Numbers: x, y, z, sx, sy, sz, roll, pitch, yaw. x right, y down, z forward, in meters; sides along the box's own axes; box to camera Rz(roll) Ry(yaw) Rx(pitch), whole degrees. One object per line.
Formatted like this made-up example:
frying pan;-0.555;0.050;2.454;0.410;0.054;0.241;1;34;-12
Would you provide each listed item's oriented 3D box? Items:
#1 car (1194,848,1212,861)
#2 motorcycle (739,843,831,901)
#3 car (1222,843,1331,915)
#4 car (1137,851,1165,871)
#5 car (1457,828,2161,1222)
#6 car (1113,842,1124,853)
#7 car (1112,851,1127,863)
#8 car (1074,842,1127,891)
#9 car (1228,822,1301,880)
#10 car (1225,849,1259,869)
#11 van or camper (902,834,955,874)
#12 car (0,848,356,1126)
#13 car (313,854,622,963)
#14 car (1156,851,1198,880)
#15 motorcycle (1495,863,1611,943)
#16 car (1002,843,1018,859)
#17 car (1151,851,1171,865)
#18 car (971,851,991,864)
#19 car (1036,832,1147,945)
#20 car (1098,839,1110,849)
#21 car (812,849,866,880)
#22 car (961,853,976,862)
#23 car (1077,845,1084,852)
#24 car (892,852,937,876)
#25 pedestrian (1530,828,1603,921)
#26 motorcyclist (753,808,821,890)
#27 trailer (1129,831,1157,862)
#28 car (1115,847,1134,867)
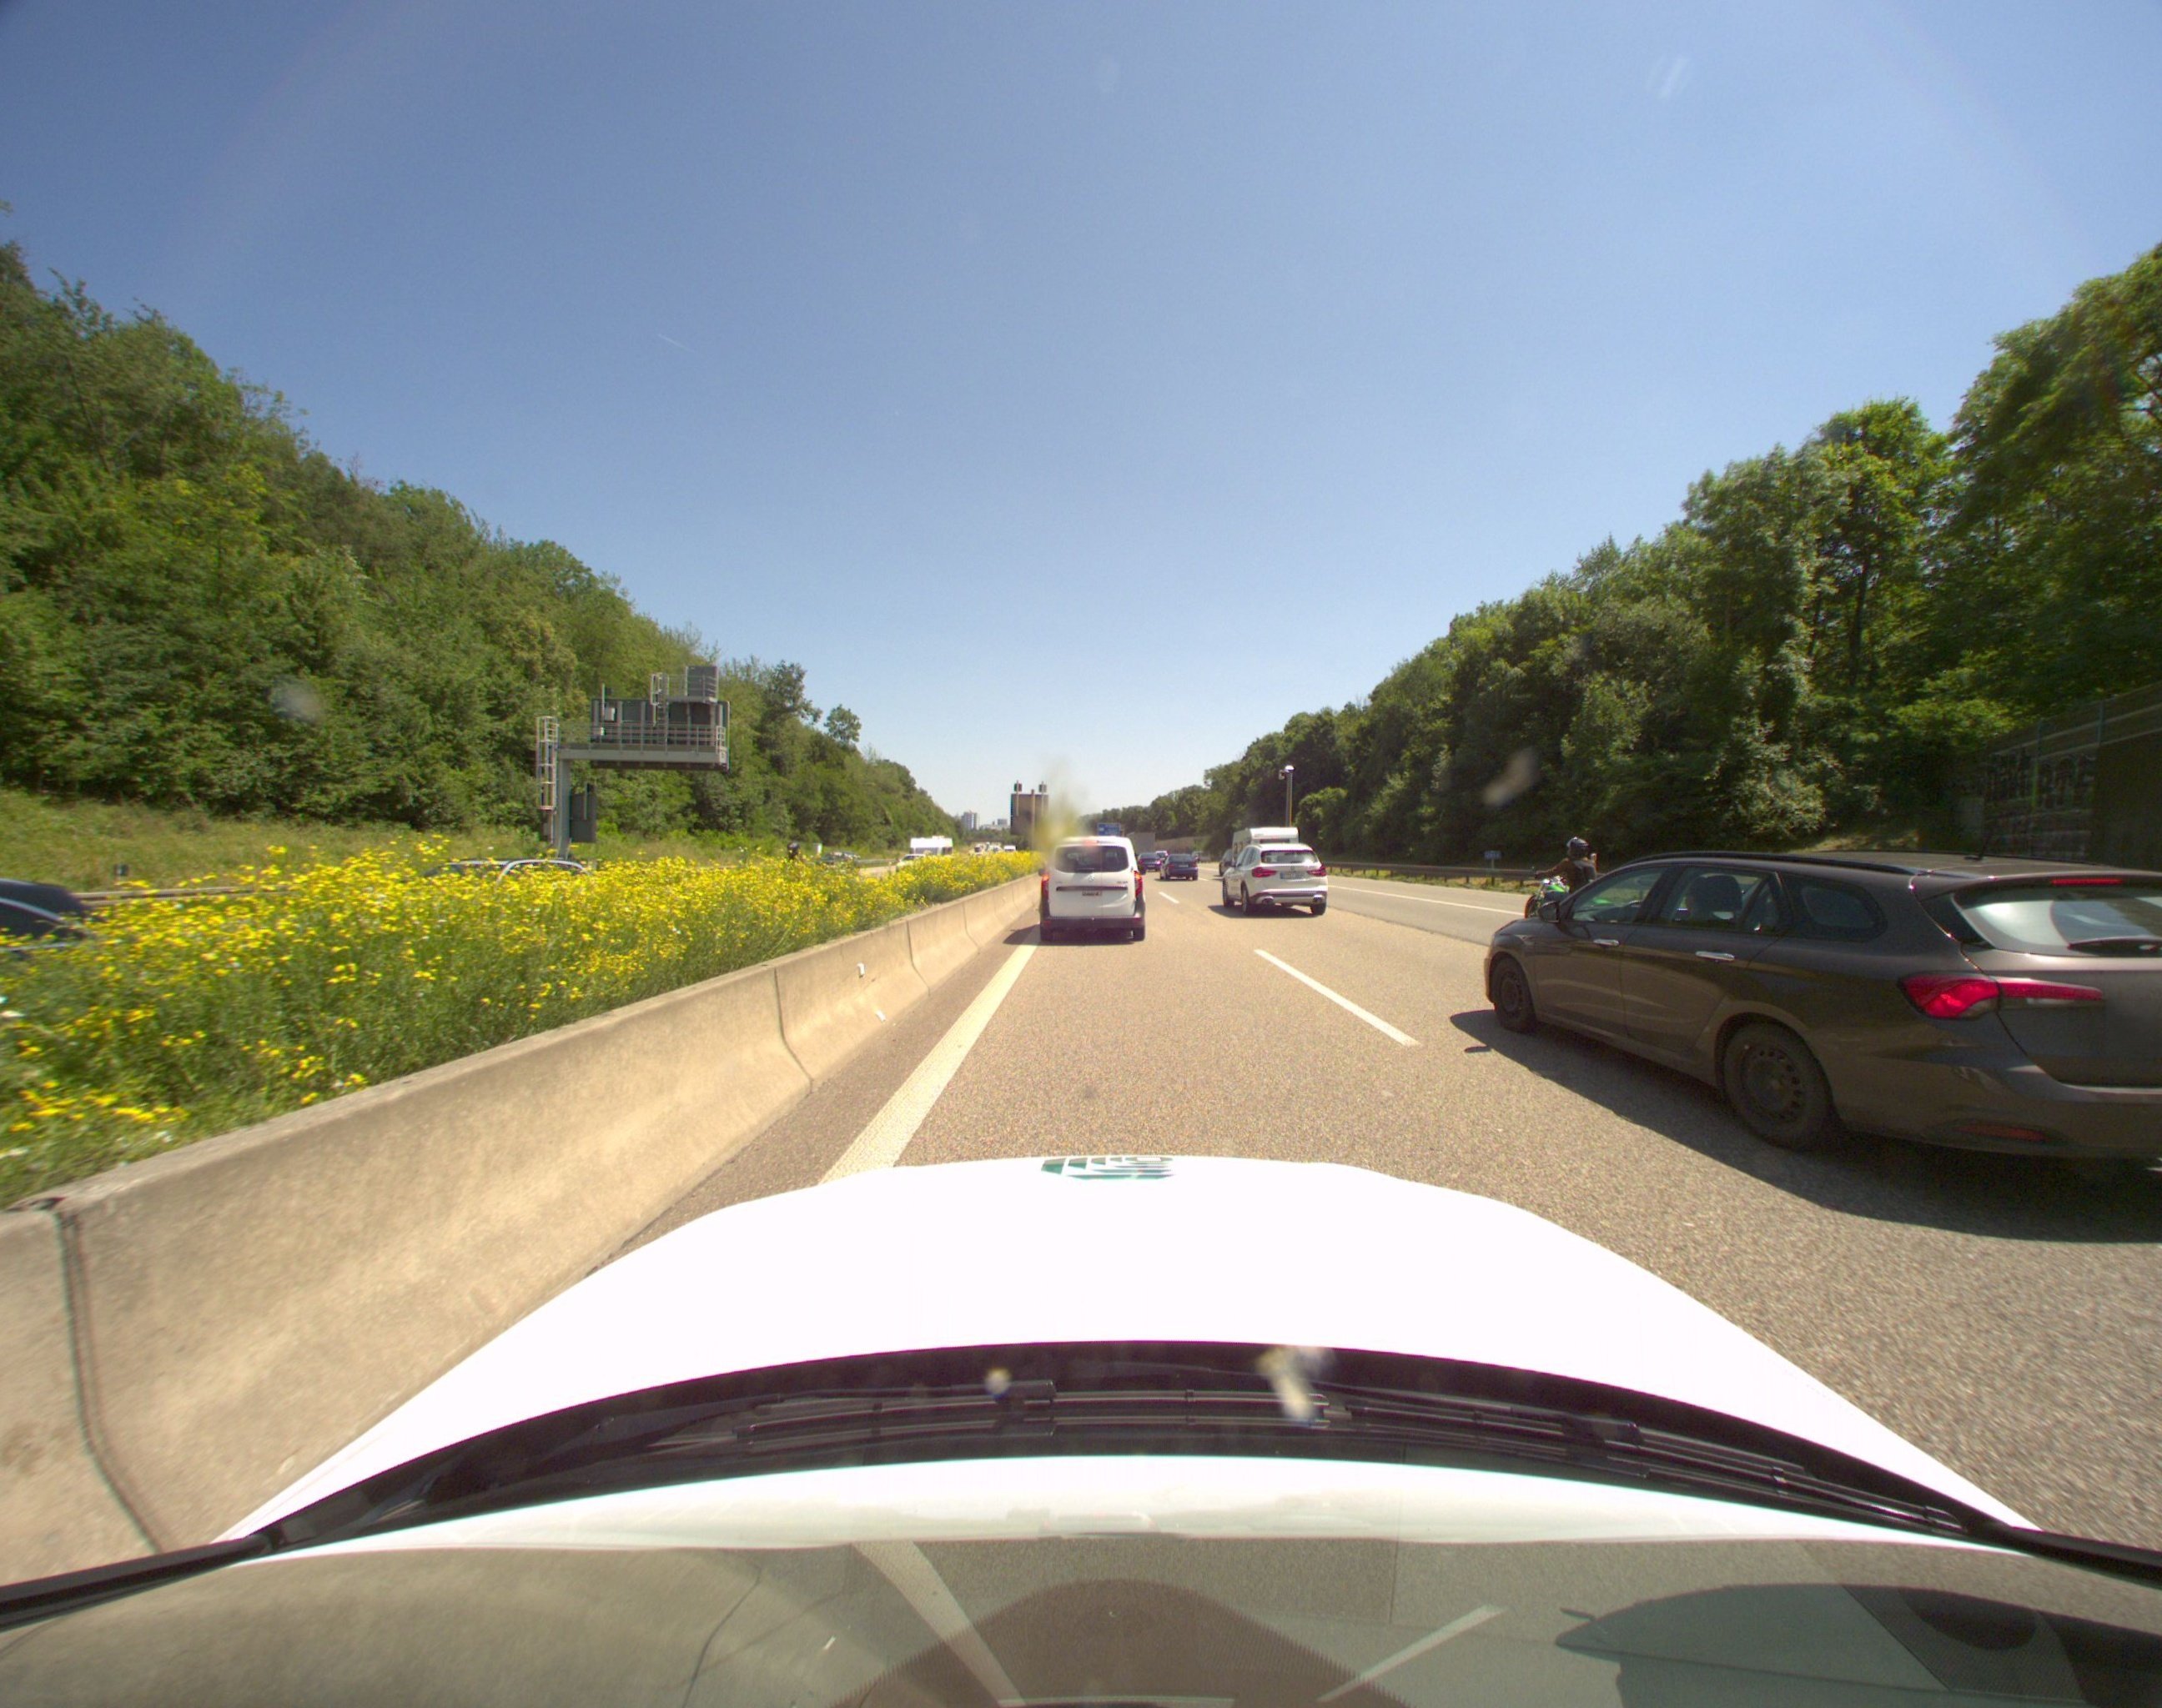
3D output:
car;14.874;0.082;99.503;1.781;1.519;4.001;-1;0;1
motorcycle;-6.631;0.378;18.447;1.036;1.215;2.614;-1;0;2
car;4.692;0.526;20.070;1.864;1.608;3.881;0;1;2
car;5.145;0.505;60.286;1.817;1.424;4.001;-1;0;1
car;4.356;0.627;5.330;1.832;1.513;4.402;0;1;1
car;6.775;-1.190;147.758;1.986;2.013;4.001;-1;0;1
car;4.944;0.391;105.631;1.817;1.447;4.001;-1;0;1
car;0.787;0.467;32.903;1.986;1.860;4.001;-1;0;1
car;9.253;-0.157;41.733;2.470;2.765;6.221;-1;0;1
car;11.810;0.352;59.936;1.817;1.424;4.001;-1;0;1
van or camper;-10.705;-0.042;57.739;2.301;2.636;7.398;-1;0;0
car;-6.741;0.724;4.476;1.832;1.496;4.002;-1;0;2
car;-10.018;0.777;13.837;1.832;1.521;4.359;-1;0;2
car;4.958;0.570;42.618;1.817;1.424;4.001;-1;0;1
motorcycle;7.953;0.779;13.864;0.855;1.181;2.280;0;1;6
car;-11.428;-0.435;131.677;1.986;2.541;5.910;-1;0;1
car;8.720;0.416;88.819;1.817;1.424;4.001;-1;0;1
car;-12.434;0.473;101.414;1.986;1.574;4.001;-1;0;1
car;0.194;0.548;15.223;1.796;1.808;4.000;-1;0;0
car;4.662;-2.010;164.660;1.989;2.013;3.996;-1;0;-3
car;-14.160;0.566;47.949;1.749;1.696;4.424;-1;0;1
car;-18.354;0.583;133.190;1.781;1.454;3.542;-1;0;1
car;-0.119;-1.636;239.152;1.986;2.013;4.001;-1;0;1
car;-10.513;0.579;51.710;1.749;1.439;4.611;-1;0;1
pedestrian;7.900;0.324;13.278;0.847;1.478;0.639;0;1;5
motorcyclist;-6.642;-0.113;18.499;1.027;1.785;1.284;-1;0;1
trailer;8.210;-0.990;108.888;3.071;3.985;10.325;-1;0;1
car;4.526;0.274;85.405;1.817;1.989;4.001;-1;0;1
